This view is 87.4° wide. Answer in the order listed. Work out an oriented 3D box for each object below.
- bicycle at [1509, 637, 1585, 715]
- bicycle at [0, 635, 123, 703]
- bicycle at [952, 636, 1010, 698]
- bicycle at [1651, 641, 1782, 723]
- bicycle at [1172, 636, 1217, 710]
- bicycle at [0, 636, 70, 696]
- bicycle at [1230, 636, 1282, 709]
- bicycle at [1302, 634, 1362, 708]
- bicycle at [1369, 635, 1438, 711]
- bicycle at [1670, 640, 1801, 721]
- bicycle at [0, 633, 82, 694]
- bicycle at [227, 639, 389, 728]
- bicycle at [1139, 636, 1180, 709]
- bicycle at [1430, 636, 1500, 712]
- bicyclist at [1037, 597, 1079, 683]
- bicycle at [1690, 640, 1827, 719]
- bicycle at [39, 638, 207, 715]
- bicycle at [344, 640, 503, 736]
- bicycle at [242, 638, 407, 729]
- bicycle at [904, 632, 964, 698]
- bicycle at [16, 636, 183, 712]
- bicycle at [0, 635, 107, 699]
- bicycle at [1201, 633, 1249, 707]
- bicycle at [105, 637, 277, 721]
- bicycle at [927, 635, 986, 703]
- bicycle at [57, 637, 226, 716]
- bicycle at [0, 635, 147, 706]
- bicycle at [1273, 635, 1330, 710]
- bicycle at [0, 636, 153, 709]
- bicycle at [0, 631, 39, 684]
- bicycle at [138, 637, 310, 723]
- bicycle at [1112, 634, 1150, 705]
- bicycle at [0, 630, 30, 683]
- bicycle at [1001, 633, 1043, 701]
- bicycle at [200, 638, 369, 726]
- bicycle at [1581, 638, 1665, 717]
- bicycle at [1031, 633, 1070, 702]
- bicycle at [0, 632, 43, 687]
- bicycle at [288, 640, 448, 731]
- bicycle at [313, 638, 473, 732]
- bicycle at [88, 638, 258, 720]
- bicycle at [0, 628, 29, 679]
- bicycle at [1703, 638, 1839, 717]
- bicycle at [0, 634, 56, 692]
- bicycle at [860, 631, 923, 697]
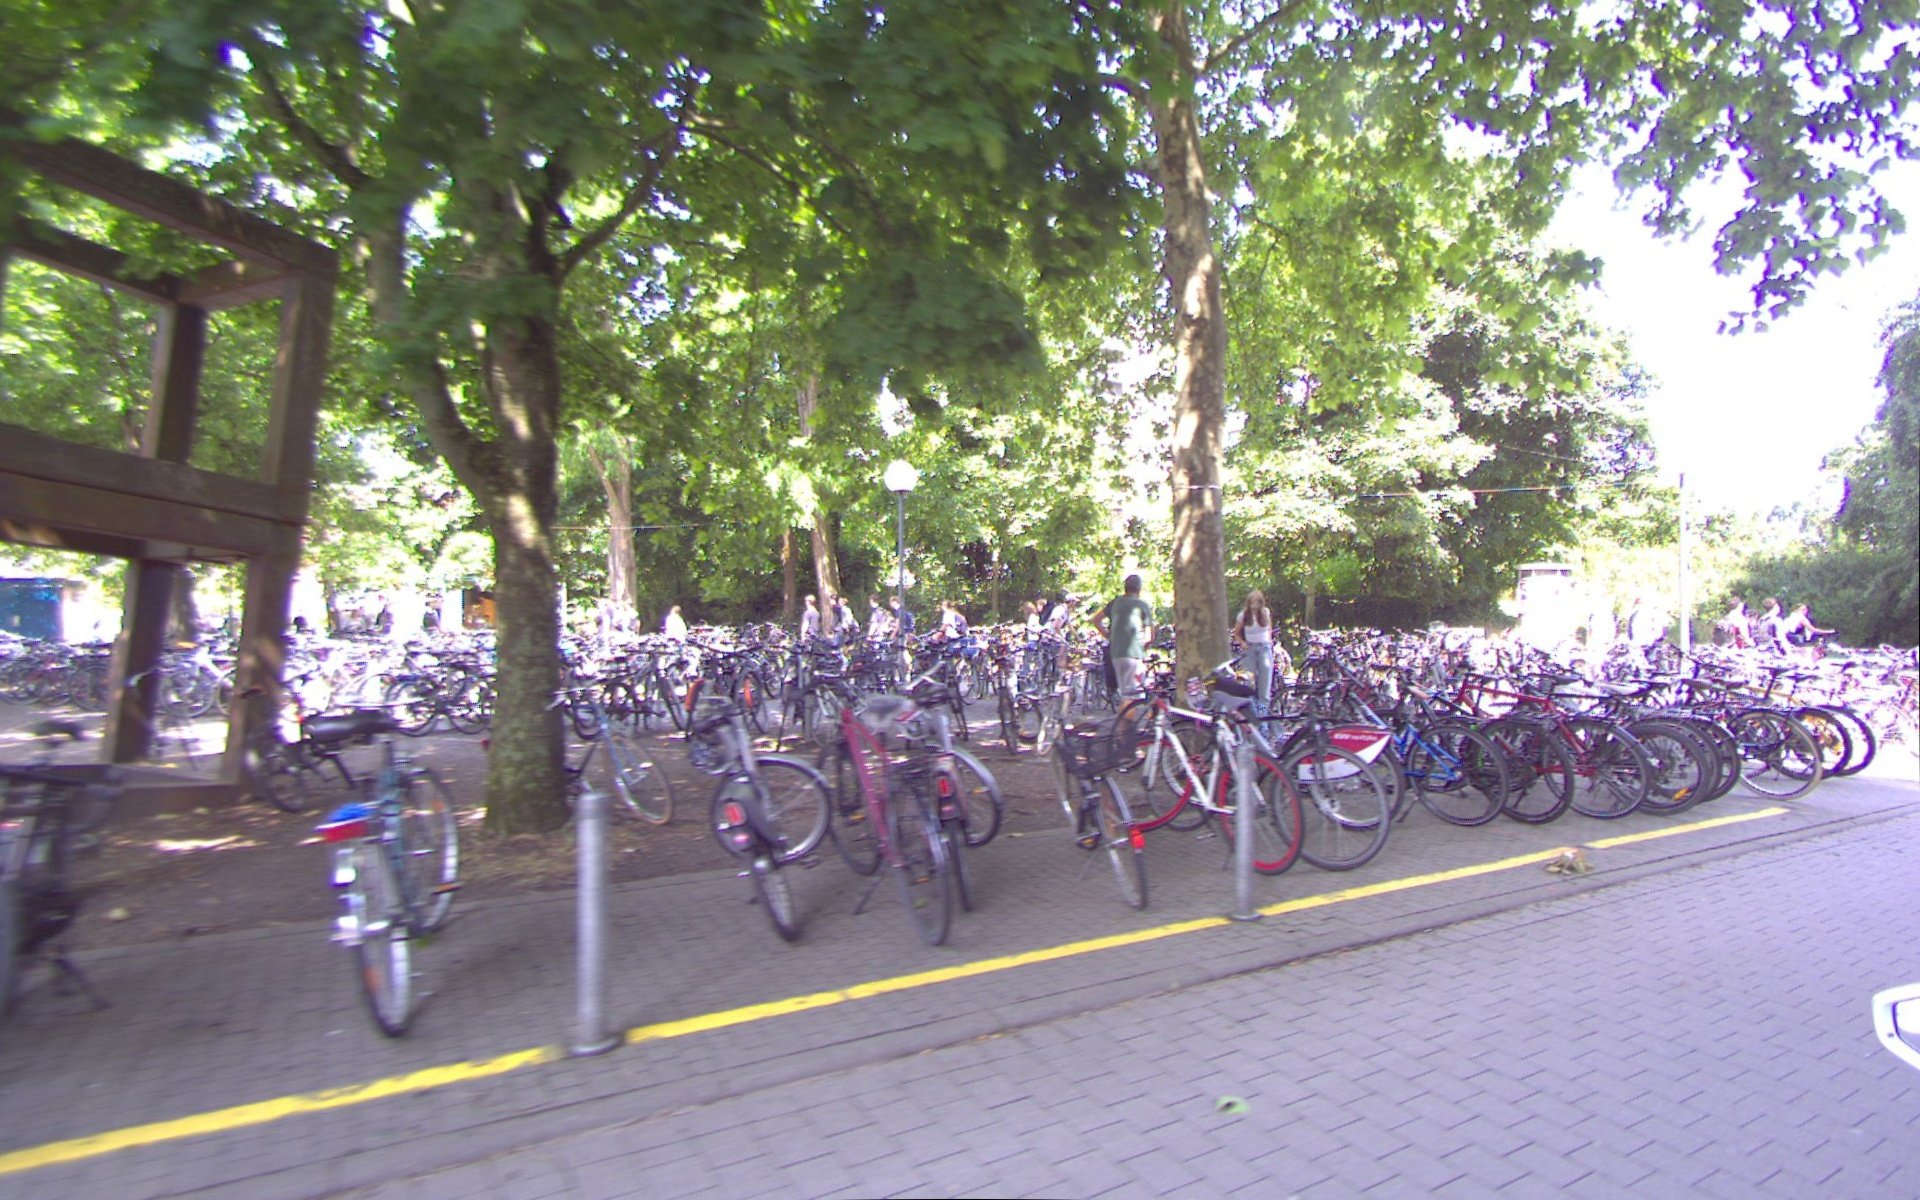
[{"bbox_3d":[9.087,1.151,15.606,0.464,1.098,1.701,1,0,11],"label":"bicycle"},{"bbox_3d":[-16.316,1.212,17.955,0.494,1.123,2.025,1,0,32],"label":"bicycle"},{"bbox_3d":[0.382,1.134,17.472,0.443,0.974,1.740,1,0,20],"label":"bicycle"},{"bbox_3d":[11.351,1.204,15.138,0.466,1.098,1.696,1,0,-10],"label":"bicycle"},{"bbox_3d":[3.841,1.173,16.533,0.464,1.098,1.700,1,0,5],"label":"bicycle"},{"bbox_3d":[-18.493,1.266,19.304,0.494,1.123,2.025,1,0,32],"label":"bicycle"},{"bbox_3d":[4.839,1.161,16.501,0.464,1.098,1.700,1,0,5],"label":"bicycle"},{"bbox_3d":[6.032,1.129,16.356,0.464,1.098,1.700,1,0,5],"label":"bicycle"},{"bbox_3d":[7.046,1.127,16.019,0.464,1.098,1.700,1,0,5],"label":"bicycle"},{"bbox_3d":[11.796,1.198,15.342,0.466,1.098,1.696,1,0,-10],"label":"bicycle"},{"bbox_3d":[-17.972,1.195,18.965,0.494,1.123,2.025,1,0,32],"label":"bicycle"},{"bbox_3d":[-9.170,1.139,14.217,0.494,1.123,1.903,1,0,29],"label":"bicycle"},{"bbox_3d":[3.275,1.167,16.561,0.464,1.098,1.700,1,0,5],"label":"bicycle"},{"bbox_3d":[8.029,1.150,16.030,0.464,1.098,1.701,1,0,8],"label":"bicycle"},{"bbox_3d":[1.865,0.738,19.023,0.707,1.589,0.596,1,0,12],"label":"bicyclist"},{"bbox_3d":[12.328,1.197,15.581,0.466,1.098,1.718,1,0,-15],"label":"bicycle"},{"bbox_3d":[-13.359,1.188,16.112,0.493,1.123,2.028,1,0,27],"label":"bicycle"},{"bbox_3d":[-7.011,1.113,13.244,0.493,1.123,1.905,1,0,26],"label":"bicycle"},{"bbox_3d":[-8.677,1.106,13.809,0.494,1.123,1.903,1,0,29],"label":"bicycle"},{"bbox_3d":[-0.449,1.137,18.130,0.465,1.098,1.699,1,0,20],"label":"bicycle"},{"bbox_3d":[-14.034,1.172,16.459,0.493,1.123,2.028,1,0,27],"label":"bicycle"},{"bbox_3d":[-17.208,1.222,18.658,0.494,1.123,2.025,1,0,32],"label":"bicycle"},{"bbox_3d":[4.341,1.122,16.514,0.464,1.098,1.700,1,0,5],"label":"bicycle"},{"bbox_3d":[-11.420,1.136,14.995,0.494,1.123,2.002,1,0,29],"label":"bicycle"},{"bbox_3d":[-0.045,1.185,17.730,0.465,1.098,1.699,1,0,20],"label":"bicycle"},{"bbox_3d":[-12.839,1.162,15.841,0.493,1.123,2.028,1,0,27],"label":"bicycle"},{"bbox_3d":[-15.343,1.178,17.300,0.494,1.123,2.025,1,0,32],"label":"bicycle"},{"bbox_3d":[5.548,1.152,16.372,0.464,1.098,1.700,1,0,5],"label":"bicycle"},{"bbox_3d":[-14.944,1.190,16.940,0.494,1.123,2.025,1,0,32],"label":"bicycle"},{"bbox_3d":[-20.906,1.230,21.247,0.494,1.123,2.025,1,0,32],"label":"bicycle"},{"bbox_3d":[-10.723,1.128,14.719,0.494,1.123,2.002,1,0,29],"label":"bicycle"},{"bbox_3d":[2.882,1.142,17.026,0.464,1.098,1.700,1,0,5],"label":"bicycle"},{"bbox_3d":[-21.347,1.225,21.518,0.494,1.123,2.025,1,0,32],"label":"bicycle"},{"bbox_3d":[1.103,1.146,17.635,0.464,1.098,1.701,1,0,12],"label":"bicycle"},{"bbox_3d":[-9.652,1.134,14.444,0.494,1.123,2.002,1,0,29],"label":"bicycle"},{"bbox_3d":[10.234,1.170,15.556,0.464,1.098,1.701,1,0,11],"label":"bicycle"},{"bbox_3d":[1.590,1.144,17.458,0.464,1.098,1.701,1,0,12],"label":"bicycle"},{"bbox_3d":[-20.417,1.239,20.817,0.494,1.123,2.025,1,0,32],"label":"bicycle"},{"bbox_3d":[-8.075,1.131,13.796,0.494,1.123,1.903,1,0,29],"label":"bicycle"},{"bbox_3d":[-7.519,1.093,13.416,0.493,1.123,1.905,1,0,26],"label":"bicycle"},{"bbox_3d":[-11.924,1.159,15.296,0.494,1.123,2.002,1,0,29],"label":"bicycle"},{"bbox_3d":[-22.203,1.204,22.425,0.495,1.123,2.020,1,-1,40],"label":"bicycle"},{"bbox_3d":[12.758,1.192,15.864,0.466,1.125,1.693,1,0,-17],"label":"bicycle"},{"bbox_3d":[-19.364,1.258,19.956,0.494,1.123,2.025,1,0,32],"label":"bicycle"},{"bbox_3d":[-1.231,1.137,18.319,0.465,1.098,1.699,1,0,20],"label":"bicycle"}]
